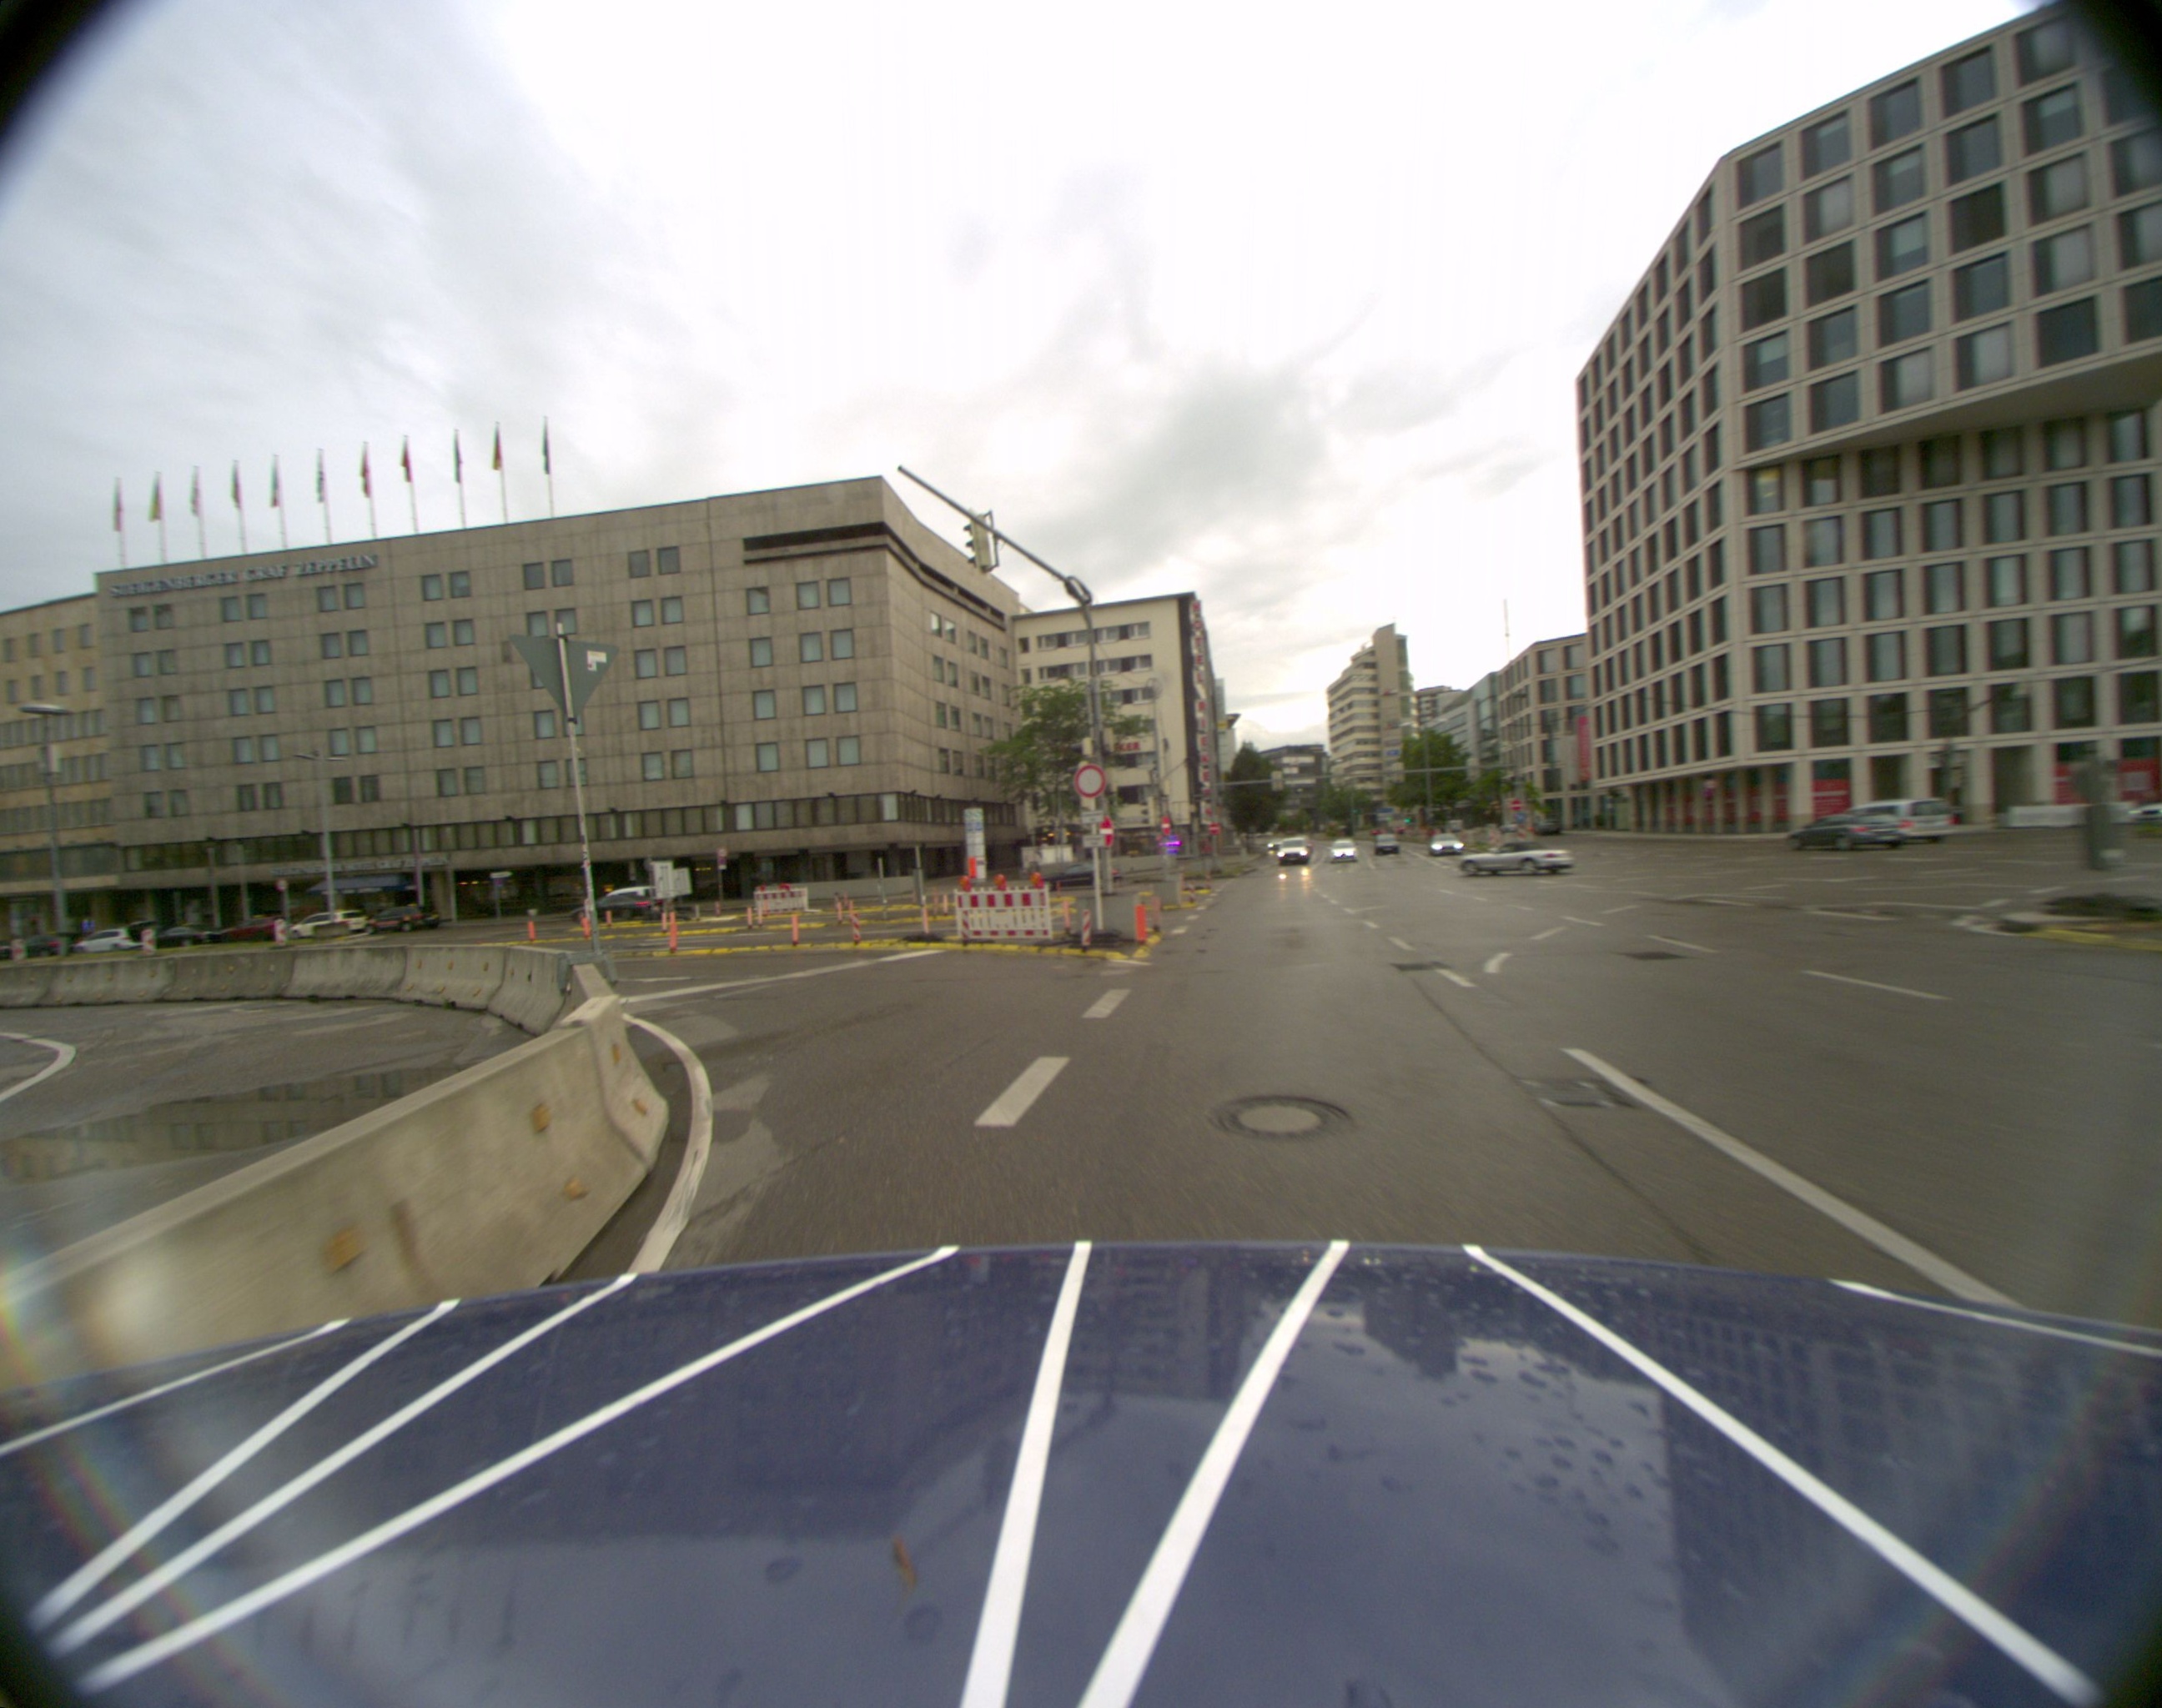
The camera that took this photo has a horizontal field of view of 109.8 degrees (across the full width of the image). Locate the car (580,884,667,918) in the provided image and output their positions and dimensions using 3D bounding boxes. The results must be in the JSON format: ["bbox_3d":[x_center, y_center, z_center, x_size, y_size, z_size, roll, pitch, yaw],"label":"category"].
[{"bbox_3d":[-28.383,2.911,47.155,4.366,1.752,1.781,-4,1,8],"label":"car"}]

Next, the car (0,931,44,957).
[{"bbox_3d":[-76.947,6.492,54.022,4.559,1.612,1.761,-4,0,7],"label":"car"}]

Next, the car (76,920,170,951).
[{"bbox_3d":[-66.011,5.610,52.373,4.705,1.748,1.761,-4,0,7],"label":"car"}]

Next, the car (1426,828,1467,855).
[{"bbox_3d":[24.570,-0.842,51.247,2.014,1.589,4.669,-4,0,21],"label":"car"}]

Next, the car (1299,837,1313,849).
[{"bbox_3d":[31.721,-1.548,107.312,1.669,1.475,3.489,-4,0,15],"label":"car"}]

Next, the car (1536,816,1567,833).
[{"bbox_3d":[48.232,-3.019,77.929,1.863,1.514,4.005,-3,0,21],"label":"car"}]

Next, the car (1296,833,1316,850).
[{"bbox_3d":[21.971,-1.210,74.199,1.669,1.475,3.489,-4,0,15],"label":"car"}]

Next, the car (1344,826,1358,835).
[{"bbox_3d":[53.494,-4.589,150.760,1.848,1.589,4.183,-4,0,10],"label":"car"}]

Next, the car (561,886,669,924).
[{"bbox_3d":[-24.462,2.651,39.918,4.656,1.589,2.020,-4,0,13],"label":"car"}]

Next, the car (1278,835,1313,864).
[{"bbox_3d":[15.456,-0.373,54.494,2.083,1.893,5.091,-4,0,18],"label":"car"}]

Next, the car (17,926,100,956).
[{"bbox_3d":[-71.542,6.098,53.167,4.222,1.671,1.761,-4,0,12],"label":"car"}]

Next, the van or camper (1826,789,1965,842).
[{"bbox_3d":[34.755,-1.574,32.613,1.848,1.967,4.259,-4,0,10],"label":"van or camper"}]

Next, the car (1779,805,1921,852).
[{"bbox_3d":[30.313,-0.981,30.164,1.848,1.589,4.183,-4,0,10],"label":"car"}]

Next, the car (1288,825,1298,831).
[{"bbox_3d":[63.652,-7.797,228.361,1.850,1.589,4.181,-4,0,2],"label":"car"}]

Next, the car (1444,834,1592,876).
[{"bbox_3d":[15.944,0.093,28.014,1.644,1.302,4.521,-4,0,-27],"label":"car"}]

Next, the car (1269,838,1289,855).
[{"bbox_3d":[24.476,-0.956,93.664,1.920,2.002,4.005,-4,0,19],"label":"car"}]

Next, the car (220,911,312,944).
[{"bbox_3d":[-54.546,4.903,50.892,4.640,1.757,1.909,-4,1,10],"label":"car"}]

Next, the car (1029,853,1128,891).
[{"bbox_3d":[-0.106,0.921,39.567,4.655,1.589,2.020,-4,0,15],"label":"car"}]

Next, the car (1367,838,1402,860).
[{"bbox_3d":[23.730,-0.422,59.523,2.014,1.589,4.668,-4,0,16],"label":"car"}]

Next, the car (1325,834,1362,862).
[{"bbox_3d":[18.045,-0.423,52.405,2.014,1.728,4.668,-4,0,16],"label":"car"}]

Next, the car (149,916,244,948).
[{"bbox_3d":[-59.924,5.261,51.524,4.610,1.650,1.910,-4,1,8],"label":"car"}]

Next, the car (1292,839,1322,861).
[{"bbox_3d":[18.081,-0.347,60.970,2.015,1.589,4.667,-4,0,14],"label":"car"}]

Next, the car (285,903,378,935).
[{"bbox_3d":[-49.233,4.283,49.938,4.572,1.688,1.823,-4,1,8],"label":"car"}]

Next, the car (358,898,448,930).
[{"bbox_3d":[-43.878,3.878,49.205,4.507,1.718,1.823,-4,1,10],"label":"car"}]

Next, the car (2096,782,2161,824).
[{"bbox_3d":[48.505,-2.358,33.140,4.805,1.743,2.231,-4,0,11],"label":"car"}]

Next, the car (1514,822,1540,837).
[{"bbox_3d":[52.193,-2.832,88.965,1.863,1.514,4.005,-3,0,19],"label":"car"}]
